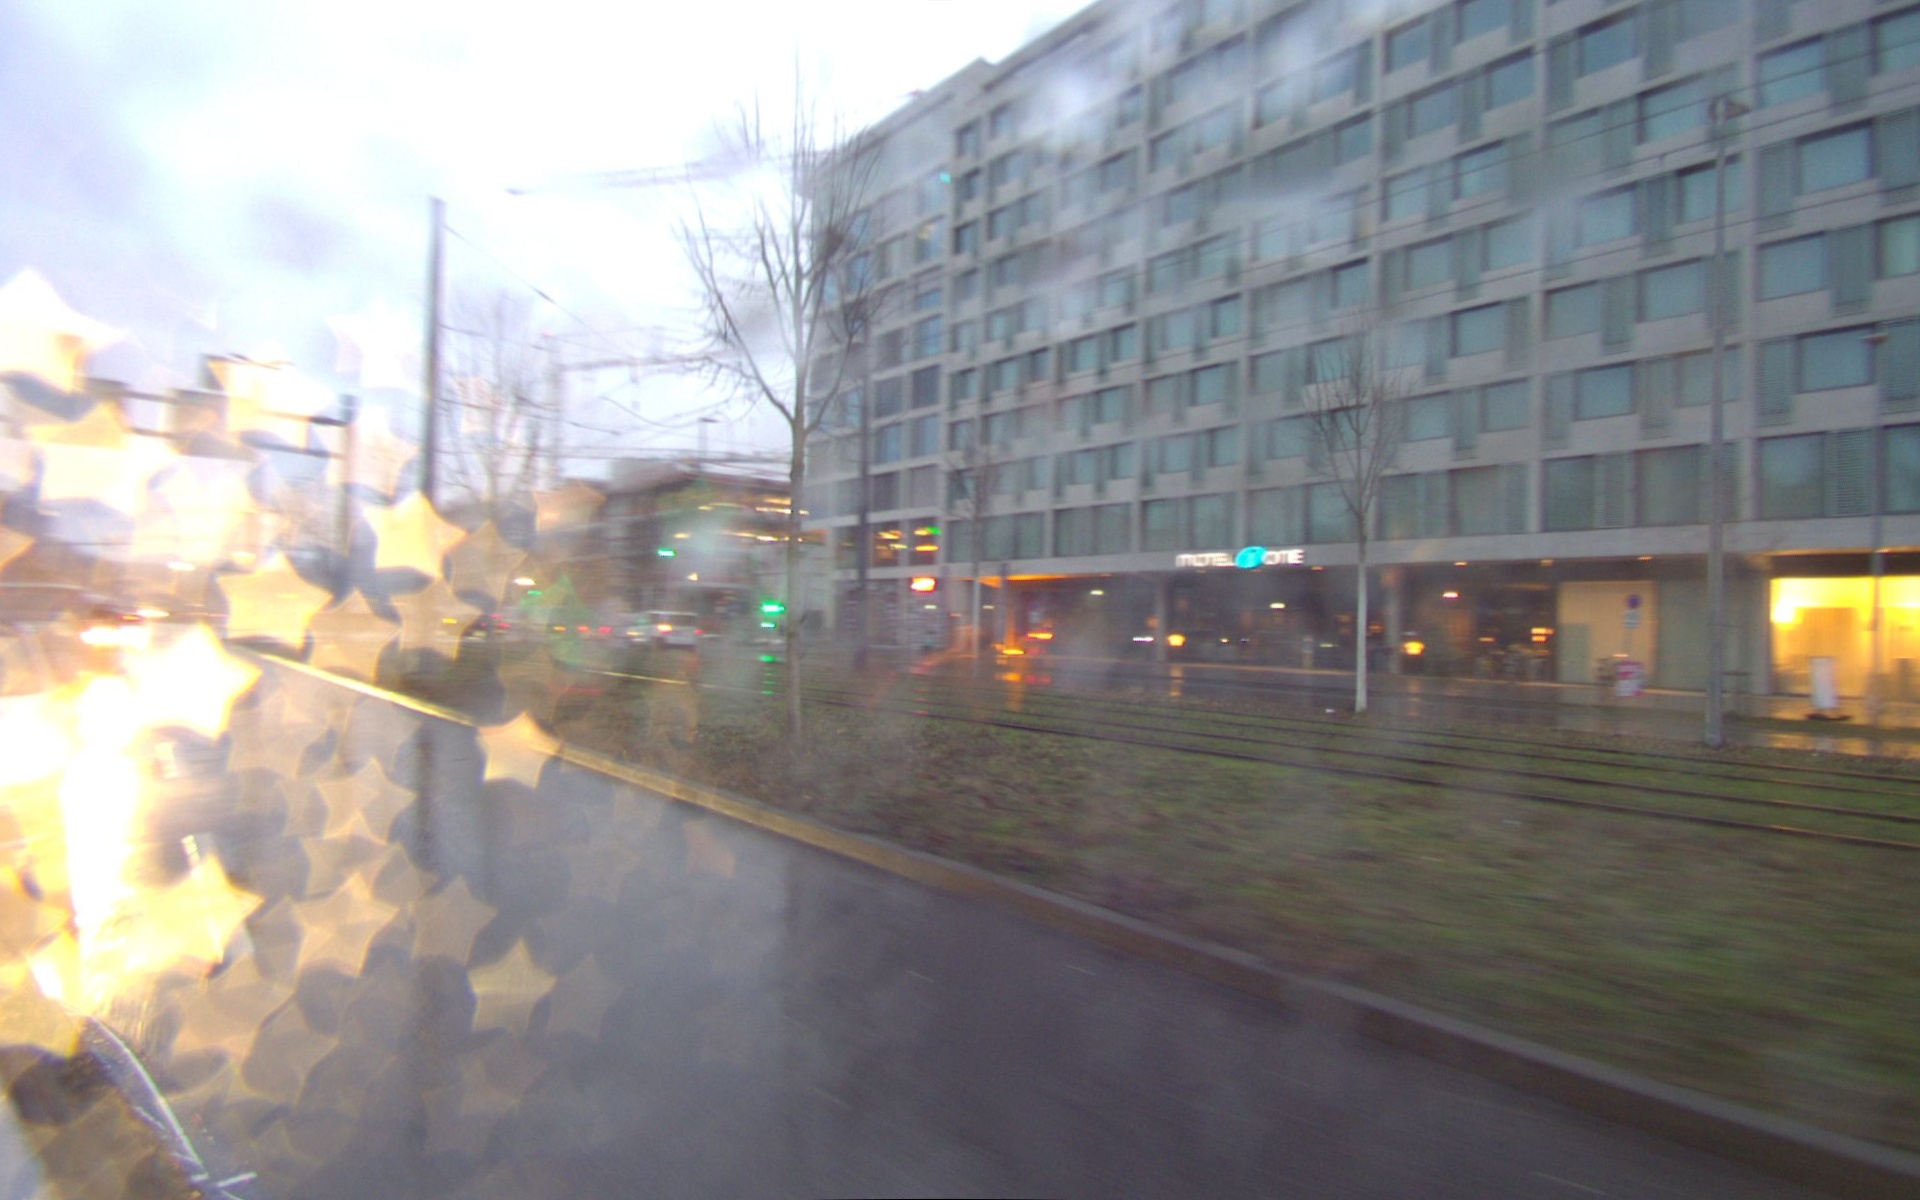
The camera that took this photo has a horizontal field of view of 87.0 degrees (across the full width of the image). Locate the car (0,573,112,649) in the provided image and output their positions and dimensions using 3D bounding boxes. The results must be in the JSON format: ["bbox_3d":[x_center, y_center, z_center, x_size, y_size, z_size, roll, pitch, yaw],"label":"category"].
[{"bbox_3d":[-21.370,0.248,23.956,1.968,1.639,4.275,0,0,-40],"label":"car"}]

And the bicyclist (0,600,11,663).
[{"bbox_3d":[-35.065,1.136,36.659,0.953,2.239,0.936,0,0,-41],"label":"bicyclist"}]

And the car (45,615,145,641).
[{"bbox_3d":[-47.184,1.531,55.295,3.933,1.284,1.822,3,-2,-35],"label":"car"}]

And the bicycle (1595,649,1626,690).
[{"bbox_3d":[21.188,2.237,32.954,1.517,1.247,0.466,0,0,-42],"label":"bicycle"}]

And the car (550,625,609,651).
[{"bbox_3d":[-20.807,2.078,55.307,1.789,1.317,4.007,3,-2,-40],"label":"car"}]

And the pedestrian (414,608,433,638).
[{"bbox_3d":[-32.495,1.401,61.247,0.765,1.818,0.704,0,0,25],"label":"pedestrian"}]

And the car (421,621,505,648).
[{"bbox_3d":[-28.262,1.962,57.707,4.184,1.411,2.119,2,-2,-24],"label":"car"}]

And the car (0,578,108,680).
[{"bbox_3d":[-16.660,0.472,18.153,2.042,1.639,4.276,0,0,-39],"label":"car"}]

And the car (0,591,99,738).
[{"bbox_3d":[-12.263,0.721,12.764,2.043,1.639,4.274,0,0,-42],"label":"car"}]

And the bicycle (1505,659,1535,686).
[{"bbox_3d":[19.165,2.470,34.629,1.329,0.860,0.466,0,0,-42],"label":"bicycle"}]

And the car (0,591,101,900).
[{"bbox_3d":[-6.700,0.735,6.364,1.857,1.573,4.178,3,-2,-40],"label":"car"}]

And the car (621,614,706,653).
[{"bbox_3d":[-13.589,1.502,46.193,2.054,1.682,5.055,3,-2,-36],"label":"car"}]

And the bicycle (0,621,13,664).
[{"bbox_3d":[-34.978,1.522,36.588,0.953,1.462,3.394,0,0,-41],"label":"bicycle"}]

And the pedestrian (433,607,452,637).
[{"bbox_3d":[-31.474,1.352,61.544,0.763,1.818,0.706,0,0,17],"label":"pedestrian"}]
